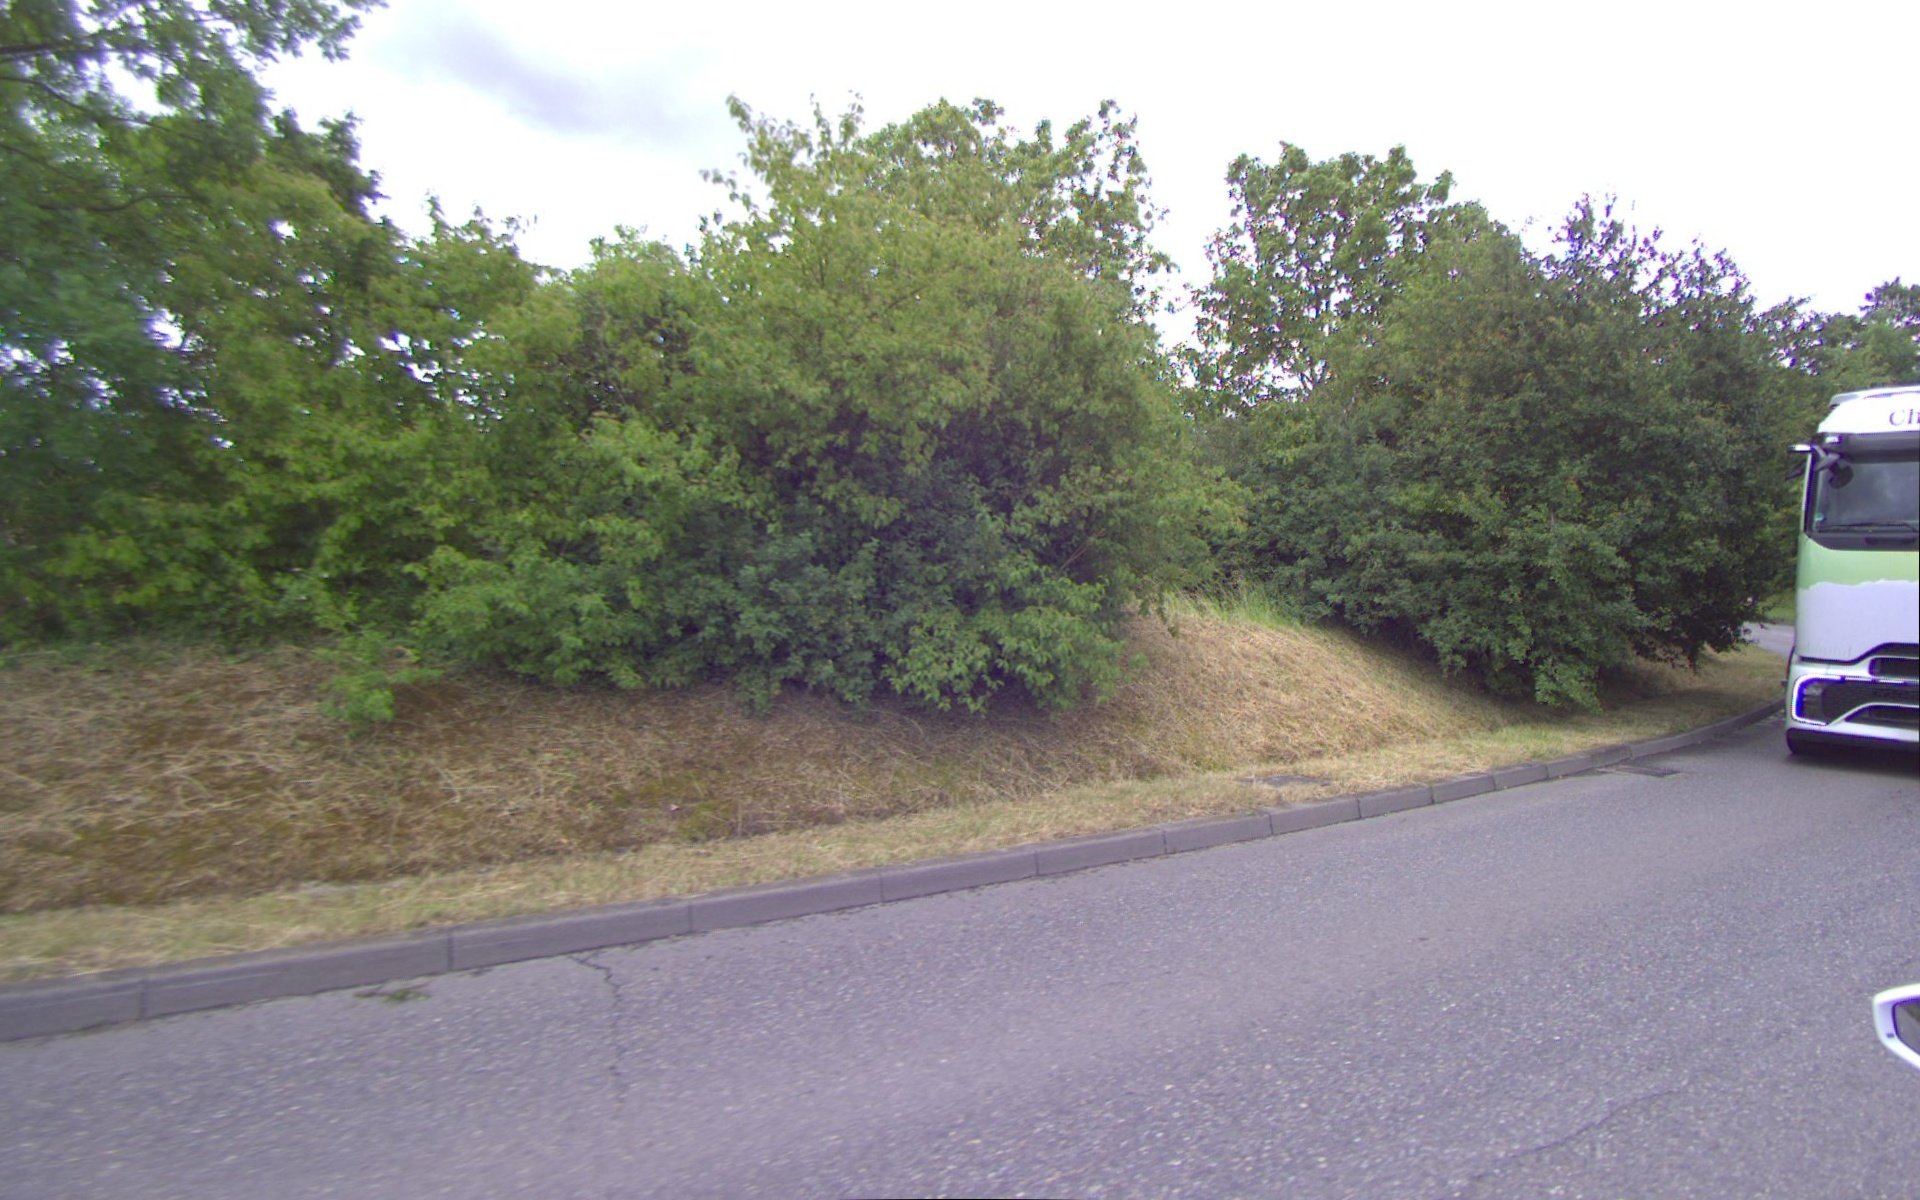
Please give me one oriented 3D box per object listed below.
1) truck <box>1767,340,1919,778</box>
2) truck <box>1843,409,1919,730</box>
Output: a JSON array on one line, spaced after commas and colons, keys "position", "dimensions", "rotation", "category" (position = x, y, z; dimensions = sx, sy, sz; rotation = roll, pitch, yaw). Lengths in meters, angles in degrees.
[{"position": [11.235, -0.377, 11.105], "dimensions": [6.282, 4.003, 2.680], "rotation": [0, 0, -42], "category": "truck"}, {"position": [17.428, -0.389, 16.672], "dimensions": [13.730, 4.003, 2.680], "rotation": [0, 0, -42], "category": "truck"}]
